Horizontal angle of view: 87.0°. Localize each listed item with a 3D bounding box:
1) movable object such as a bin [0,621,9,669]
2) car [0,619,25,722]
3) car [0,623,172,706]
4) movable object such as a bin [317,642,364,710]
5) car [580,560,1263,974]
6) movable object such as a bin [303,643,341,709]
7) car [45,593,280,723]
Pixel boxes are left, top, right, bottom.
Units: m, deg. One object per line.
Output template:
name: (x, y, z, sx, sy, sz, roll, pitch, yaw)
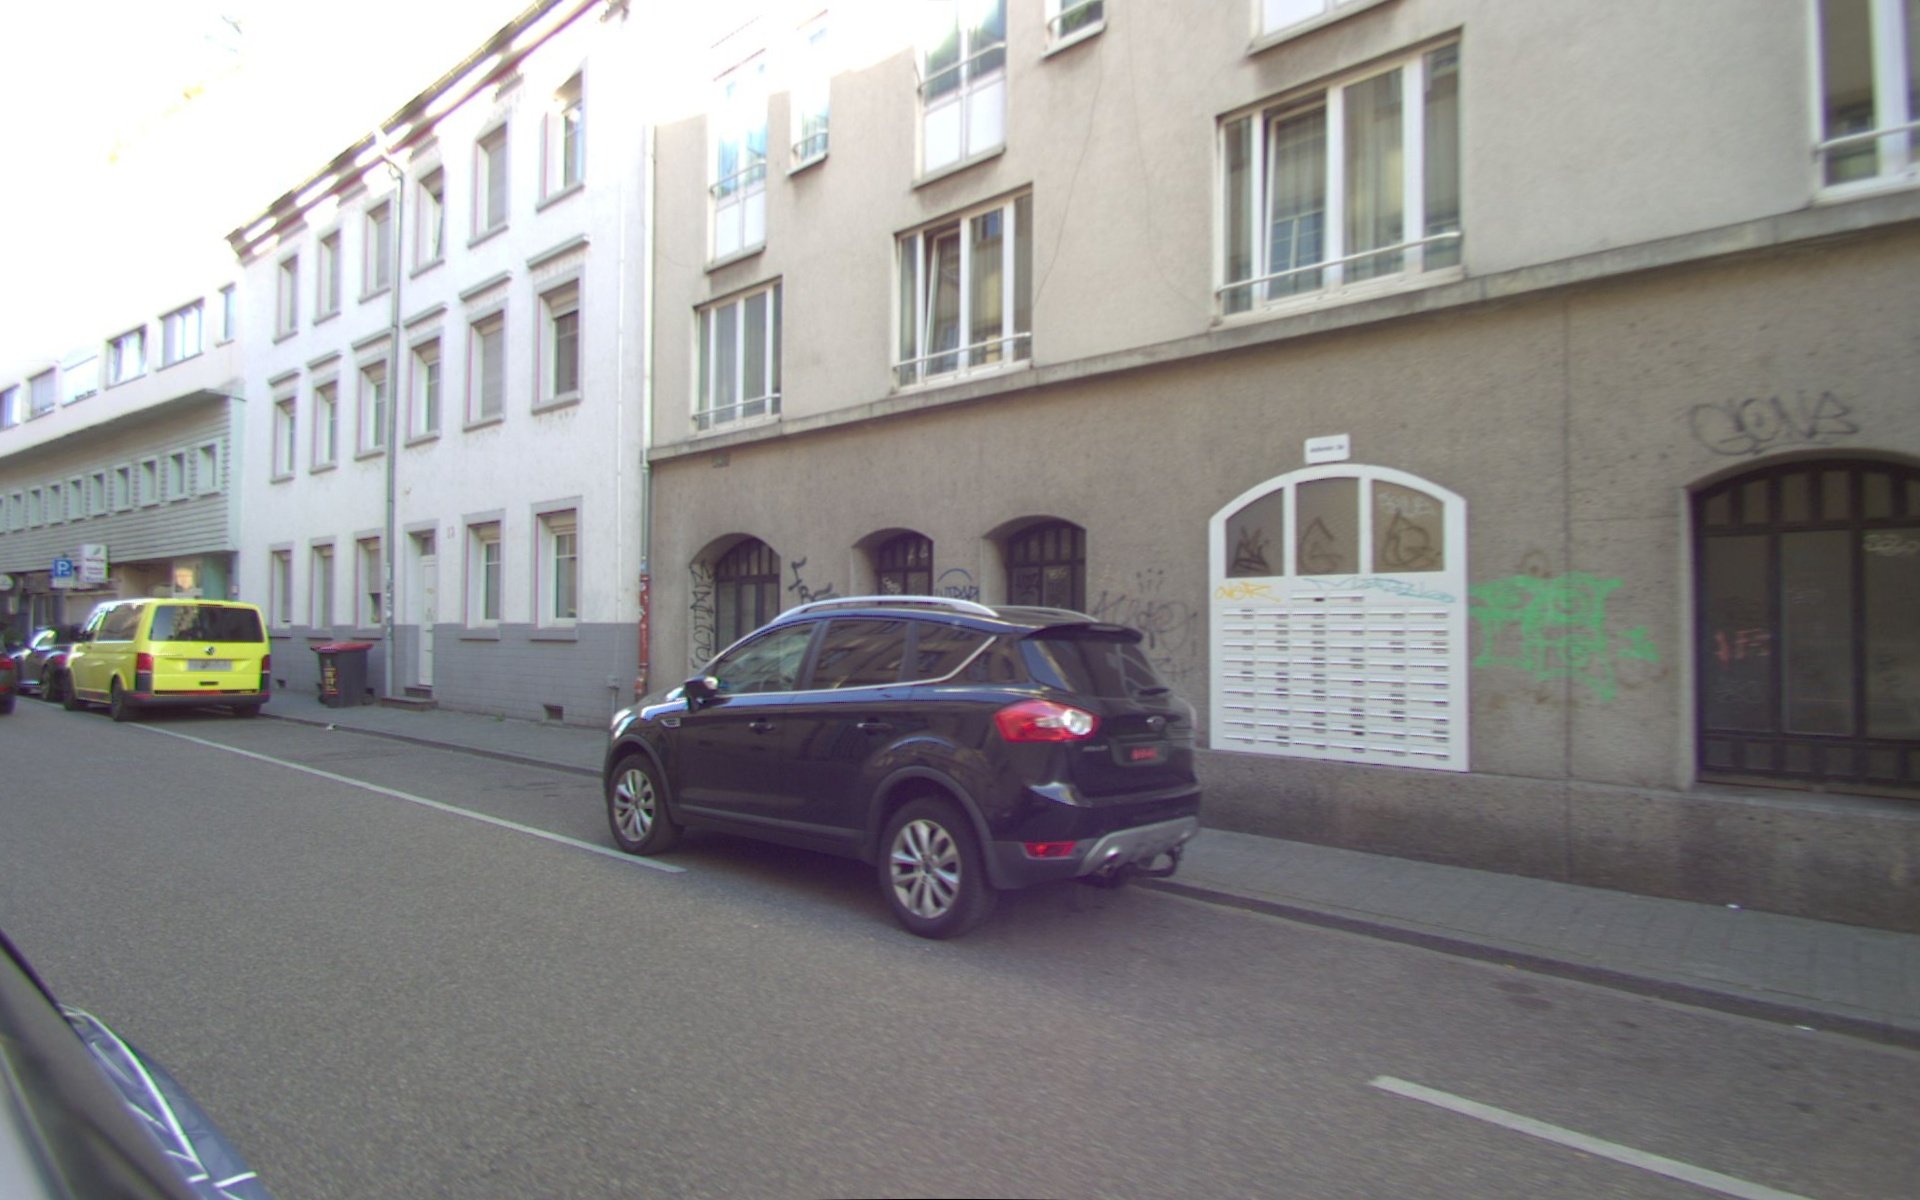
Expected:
movable object such as a bin: (-31.665, 1.450, 32.648, 1.338, 1.532, 1.113, -2, -3, 34)
car: (-16.924, 1.096, 16.310, 4.177, 1.590, 1.701, -1, -2, 33)
car: (-17.584, 1.253, 20.180, 4.068, 1.497, 1.803, -1, -5, 36)
movable object such as a bin: (-10.504, 1.281, 17.153, 0.433, 1.113, 0.535, -1, -3, 39)
car: (-0.471, 0.798, 6.295, 4.189, 1.724, 1.721, -2, -5, 42)
movable object such as a bin: (-11.081, 1.310, 17.572, 0.433, 1.113, 0.406, -1, -4, 40)
car: (-13.462, 0.951, 16.985, 4.856, 1.881, 1.862, -1, -5, 38)
